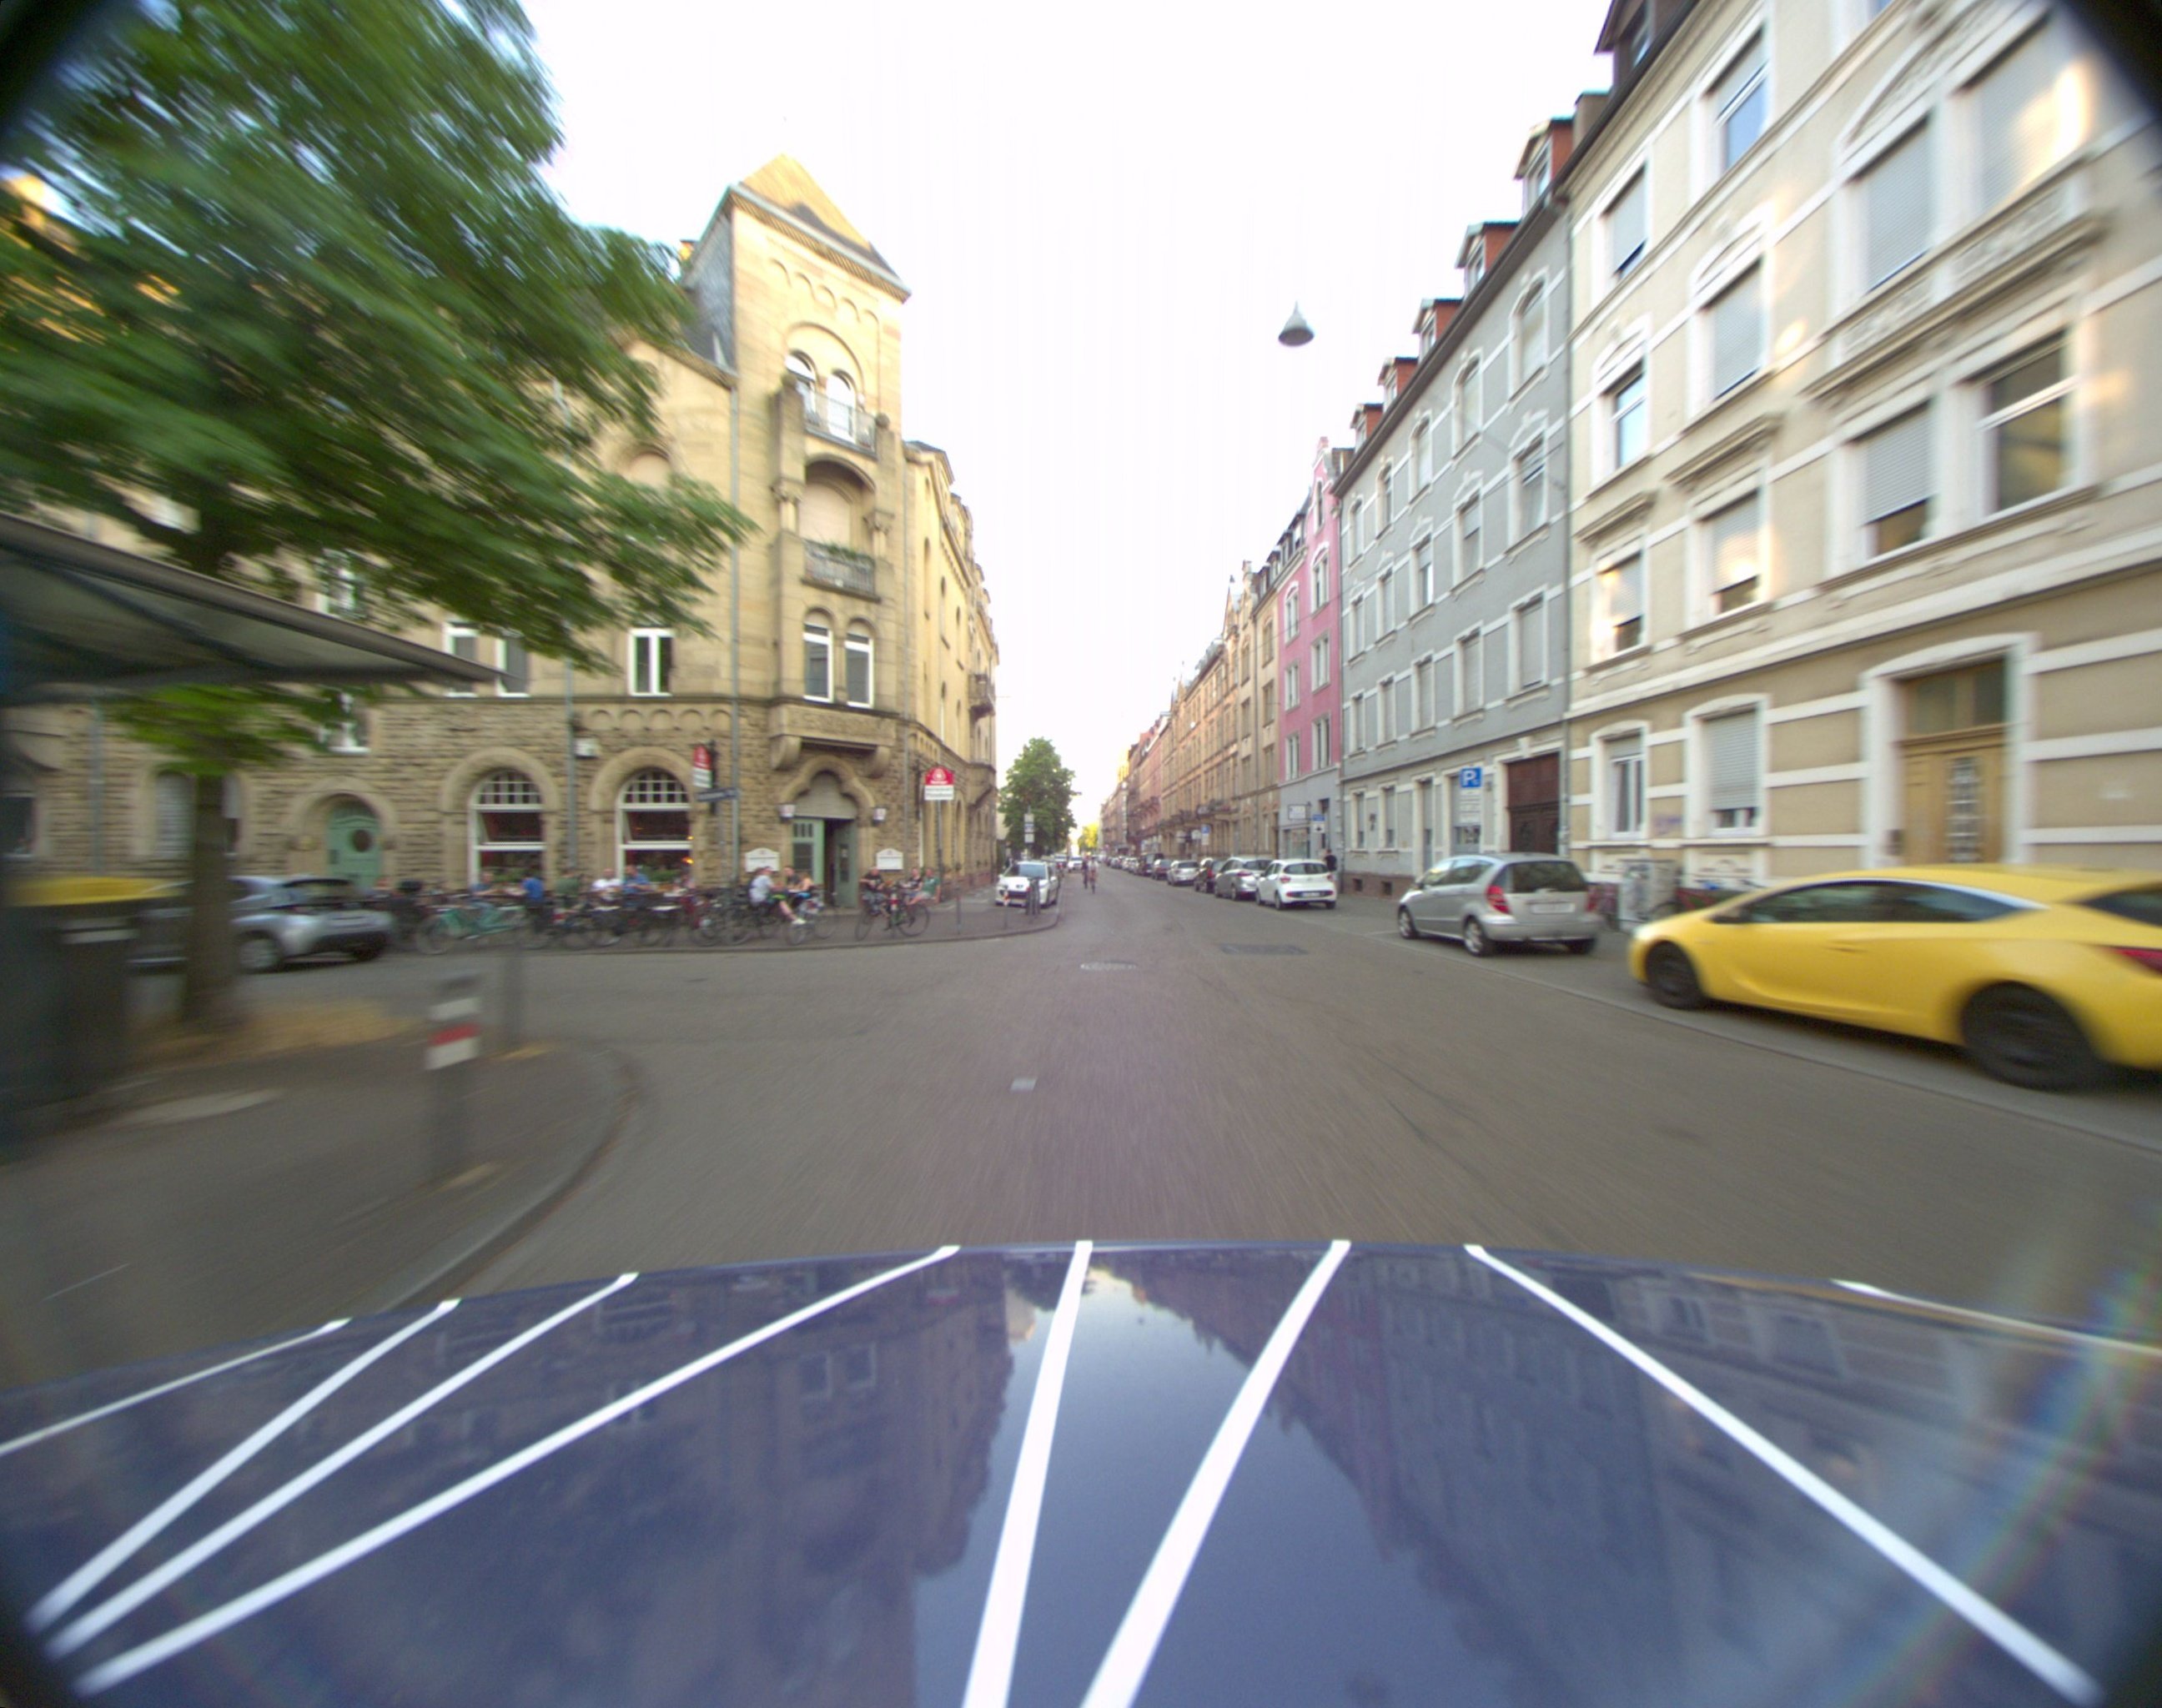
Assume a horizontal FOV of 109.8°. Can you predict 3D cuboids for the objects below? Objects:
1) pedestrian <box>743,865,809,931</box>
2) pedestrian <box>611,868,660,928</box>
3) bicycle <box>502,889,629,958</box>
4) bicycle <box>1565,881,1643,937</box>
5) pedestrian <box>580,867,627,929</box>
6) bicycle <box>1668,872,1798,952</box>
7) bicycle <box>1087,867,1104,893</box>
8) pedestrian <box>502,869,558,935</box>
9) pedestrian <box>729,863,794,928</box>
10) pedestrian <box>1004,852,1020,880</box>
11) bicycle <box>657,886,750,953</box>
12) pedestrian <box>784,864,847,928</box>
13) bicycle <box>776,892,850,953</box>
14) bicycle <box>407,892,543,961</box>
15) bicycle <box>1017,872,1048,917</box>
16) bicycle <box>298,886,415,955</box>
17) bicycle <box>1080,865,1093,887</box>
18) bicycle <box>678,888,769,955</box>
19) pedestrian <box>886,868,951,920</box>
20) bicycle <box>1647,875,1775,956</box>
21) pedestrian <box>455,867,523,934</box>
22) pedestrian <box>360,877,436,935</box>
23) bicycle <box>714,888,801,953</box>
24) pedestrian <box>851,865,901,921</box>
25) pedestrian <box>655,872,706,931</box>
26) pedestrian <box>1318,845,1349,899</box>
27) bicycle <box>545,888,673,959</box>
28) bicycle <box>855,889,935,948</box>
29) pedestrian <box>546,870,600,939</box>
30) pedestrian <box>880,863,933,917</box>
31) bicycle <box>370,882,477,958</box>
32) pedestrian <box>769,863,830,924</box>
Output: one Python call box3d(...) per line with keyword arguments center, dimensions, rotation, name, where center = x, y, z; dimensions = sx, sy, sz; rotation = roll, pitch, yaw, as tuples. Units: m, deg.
box3d(center=(-6.934, 0.968, 17.311), dimensions=(0.839, 1.389, 1.106), rotation=(1, 3, 41), name="pedestrian")
box3d(center=(-10.095, 0.995, 17.237), dimensions=(0.731, 1.313, 0.667), rotation=(-1, 1, -4), name="pedestrian")
box3d(center=(-9.384, 1.247, 13.887), dimensions=(1.835, 1.154, 0.538), rotation=(-1, 1, -14), name="bicycle")
box3d(center=(10.145, 1.045, 14.785), dimensions=(0.401, 0.971, 1.465), rotation=(2, 0, -3), name="bicycle")
box3d(center=(-10.823, 0.979, 17.236), dimensions=(0.592, 1.350, 0.737), rotation=(-1, 1, -4), name="pedestrian")
box3d(center=(10.181, 0.863, 11.957), dimensions=(0.481, 1.133, 1.864), rotation=(0, 0, 1), name="bicycle")
box3d(center=(0.680, 1.185, 35.214), dimensions=(0.686, 1.145, 2.115), rotation=(-1, 0, 4), name="bicycle")
box3d(center=(-12.159, 1.045, 16.787), dimensions=(0.617, 1.389, 0.771), rotation=(0, 2, 4), name="pedestrian")
box3d(center=(-7.468, 0.945, 17.772), dimensions=(0.839, 1.389, 1.106), rotation=(1, 3, 41), name="pedestrian")
box3d(center=(-4.378, 0.762, 48.172), dimensions=(0.851, 1.756, 0.834), rotation=(1, 1, 3), name="pedestrian")
box3d(center=(-7.062, 1.197, 14.318), dimensions=(0.502, 1.105, 1.836), rotation=(0, 0, 12), name="bicycle")
box3d(center=(-6.307, 0.971, 18.055), dimensions=(0.839, 1.389, 1.106), rotation=(1, 3, 40), name="pedestrian")
box3d(center=(-4.965, 1.244, 14.186), dimensions=(0.447, 0.974, 1.707), rotation=(0, 0, 12), name="bicycle")
box3d(center=(-11.033, 1.283, 13.905), dimensions=(0.589, 1.071, 1.838), rotation=(0, 0, 30), name="bicycle")
box3d(center=(-1.350, 1.116, 21.473), dimensions=(0.686, 1.144, 2.115), rotation=(2, 0, 0), name="bicycle")
box3d(center=(-13.760, 1.226, 14.510), dimensions=(0.545, 1.154, 1.834), rotation=(-1, 0, -4), name="bicycle")
box3d(center=(0.281, 1.215, 42.297), dimensions=(0.686, 1.145, 2.115), rotation=(-1, 0, 0), name="bicycle")
box3d(center=(-6.573, 1.213, 14.081), dimensions=(0.475, 1.064, 1.836), rotation=(0, 0, 12), name="bicycle")
box3d(center=(-4.260, 1.028, 19.909), dimensions=(1.422, 1.278, 0.839), rotation=(0, 1, -43), name="pedestrian")
box3d(center=(9.840, 0.922, 11.958), dimensions=(0.481, 1.133, 1.864), rotation=(0, 0, 1), name="bicycle")
box3d(center=(-13.026, 1.012, 16.735), dimensions=(0.902, 1.417, 0.714), rotation=(-1, 1, -4), name="pedestrian")
box3d(center=(-15.253, 1.142, 16.993), dimensions=(0.926, 1.219, 0.822), rotation=(-1, 1, -4), name="pedestrian")
box3d(center=(-6.029, 1.215, 14.283), dimensions=(0.512, 1.060, 1.836), rotation=(0, 0, 12), name="bicycle")
box3d(center=(-5.334, 0.990, 19.744), dimensions=(0.899, 1.388, 1.009), rotation=(0, 0, -43), name="pedestrian")
box3d(center=(-8.990, 1.050, 17.066), dimensions=(0.706, 1.275, 0.877), rotation=(-1, 1, -5), name="pedestrian")
box3d(center=(9.182, 0.649, 27.649), dimensions=(0.851, 1.937, 0.834), rotation=(0, 1, 3), name="pedestrian")
box3d(center=(-8.368, 1.214, 13.536), dimensions=(1.835, 1.144, 0.557), rotation=(-1, 1, -14), name="bicycle")
box3d(center=(-3.609, 1.232, 14.808), dimensions=(1.478, 1.033, 0.431), rotation=(-1, 1, -42), name="bicycle")
box3d(center=(-10.693, 1.040, 16.020), dimensions=(0.715, 1.396, 0.793), rotation=(-1, 1, -17), name="pedestrian")
box3d(center=(-4.718, 0.963, 20.614), dimensions=(0.839, 1.388, 1.106), rotation=(1, 0, 32), name="pedestrian")
box3d(center=(-12.211, 1.179, 14.185), dimensions=(0.585, 1.255, 1.833), rotation=(-1, 0, -8), name="bicycle")
box3d(center=(-6.847, 0.938, 18.507), dimensions=(0.839, 1.389, 1.106), rotation=(1, 3, 40), name="pedestrian")
